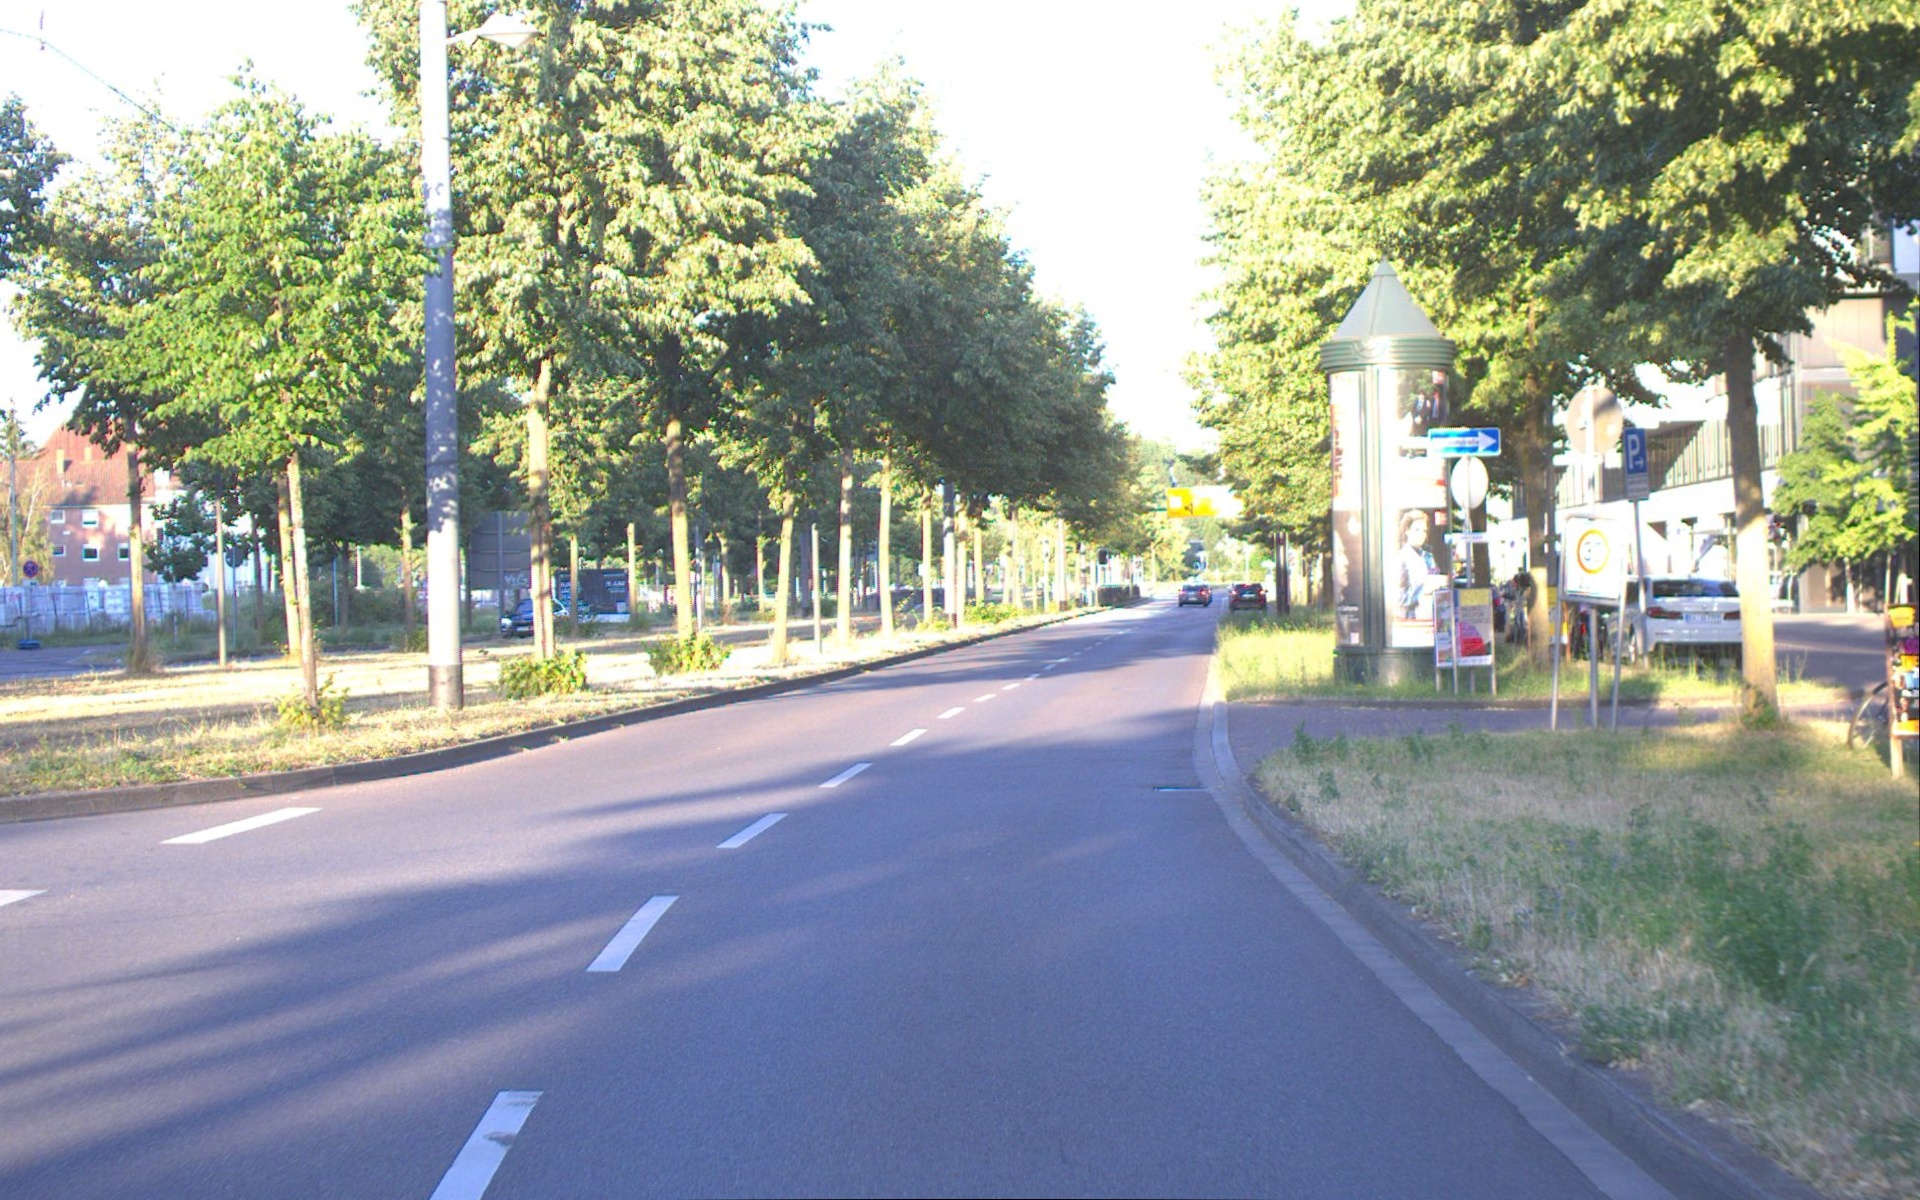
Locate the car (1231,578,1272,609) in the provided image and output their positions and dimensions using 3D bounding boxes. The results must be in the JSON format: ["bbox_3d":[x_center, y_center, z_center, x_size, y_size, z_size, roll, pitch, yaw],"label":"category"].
[{"bbox_3d":[13.984,-0.311,165.033,1.912,1.481,3.999,-1,0,4],"label":"car"}]

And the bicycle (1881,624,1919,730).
[{"bbox_3d":[8.801,0.662,29.480,1.721,0.907,0.361,-1,1,38],"label":"bicycle"}]

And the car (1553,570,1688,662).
[{"bbox_3d":[11.512,0.253,60.124,1.859,1.491,4.289,-1,1,5],"label":"car"}]

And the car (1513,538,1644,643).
[{"bbox_3d":[12.104,-0.184,67.527,1.986,1.982,4.931,0,0,4],"label":"car"}]

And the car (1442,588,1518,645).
[{"bbox_3d":[14.512,0.440,96.150,1.781,1.489,3.999,2,0,5],"label":"car"}]

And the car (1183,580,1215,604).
[{"bbox_3d":[14.678,-0.484,211.275,1.912,1.481,3.999,-1,0,4],"label":"car"}]

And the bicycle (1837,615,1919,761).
[{"bbox_3d":[6.881,0.612,24.757,0.579,0.991,1.687,-1,0,-4],"label":"bicycle"}]

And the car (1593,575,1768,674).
[{"bbox_3d":[11.261,0.360,54.077,1.917,1.491,5.041,0,0,3],"label":"car"}]
